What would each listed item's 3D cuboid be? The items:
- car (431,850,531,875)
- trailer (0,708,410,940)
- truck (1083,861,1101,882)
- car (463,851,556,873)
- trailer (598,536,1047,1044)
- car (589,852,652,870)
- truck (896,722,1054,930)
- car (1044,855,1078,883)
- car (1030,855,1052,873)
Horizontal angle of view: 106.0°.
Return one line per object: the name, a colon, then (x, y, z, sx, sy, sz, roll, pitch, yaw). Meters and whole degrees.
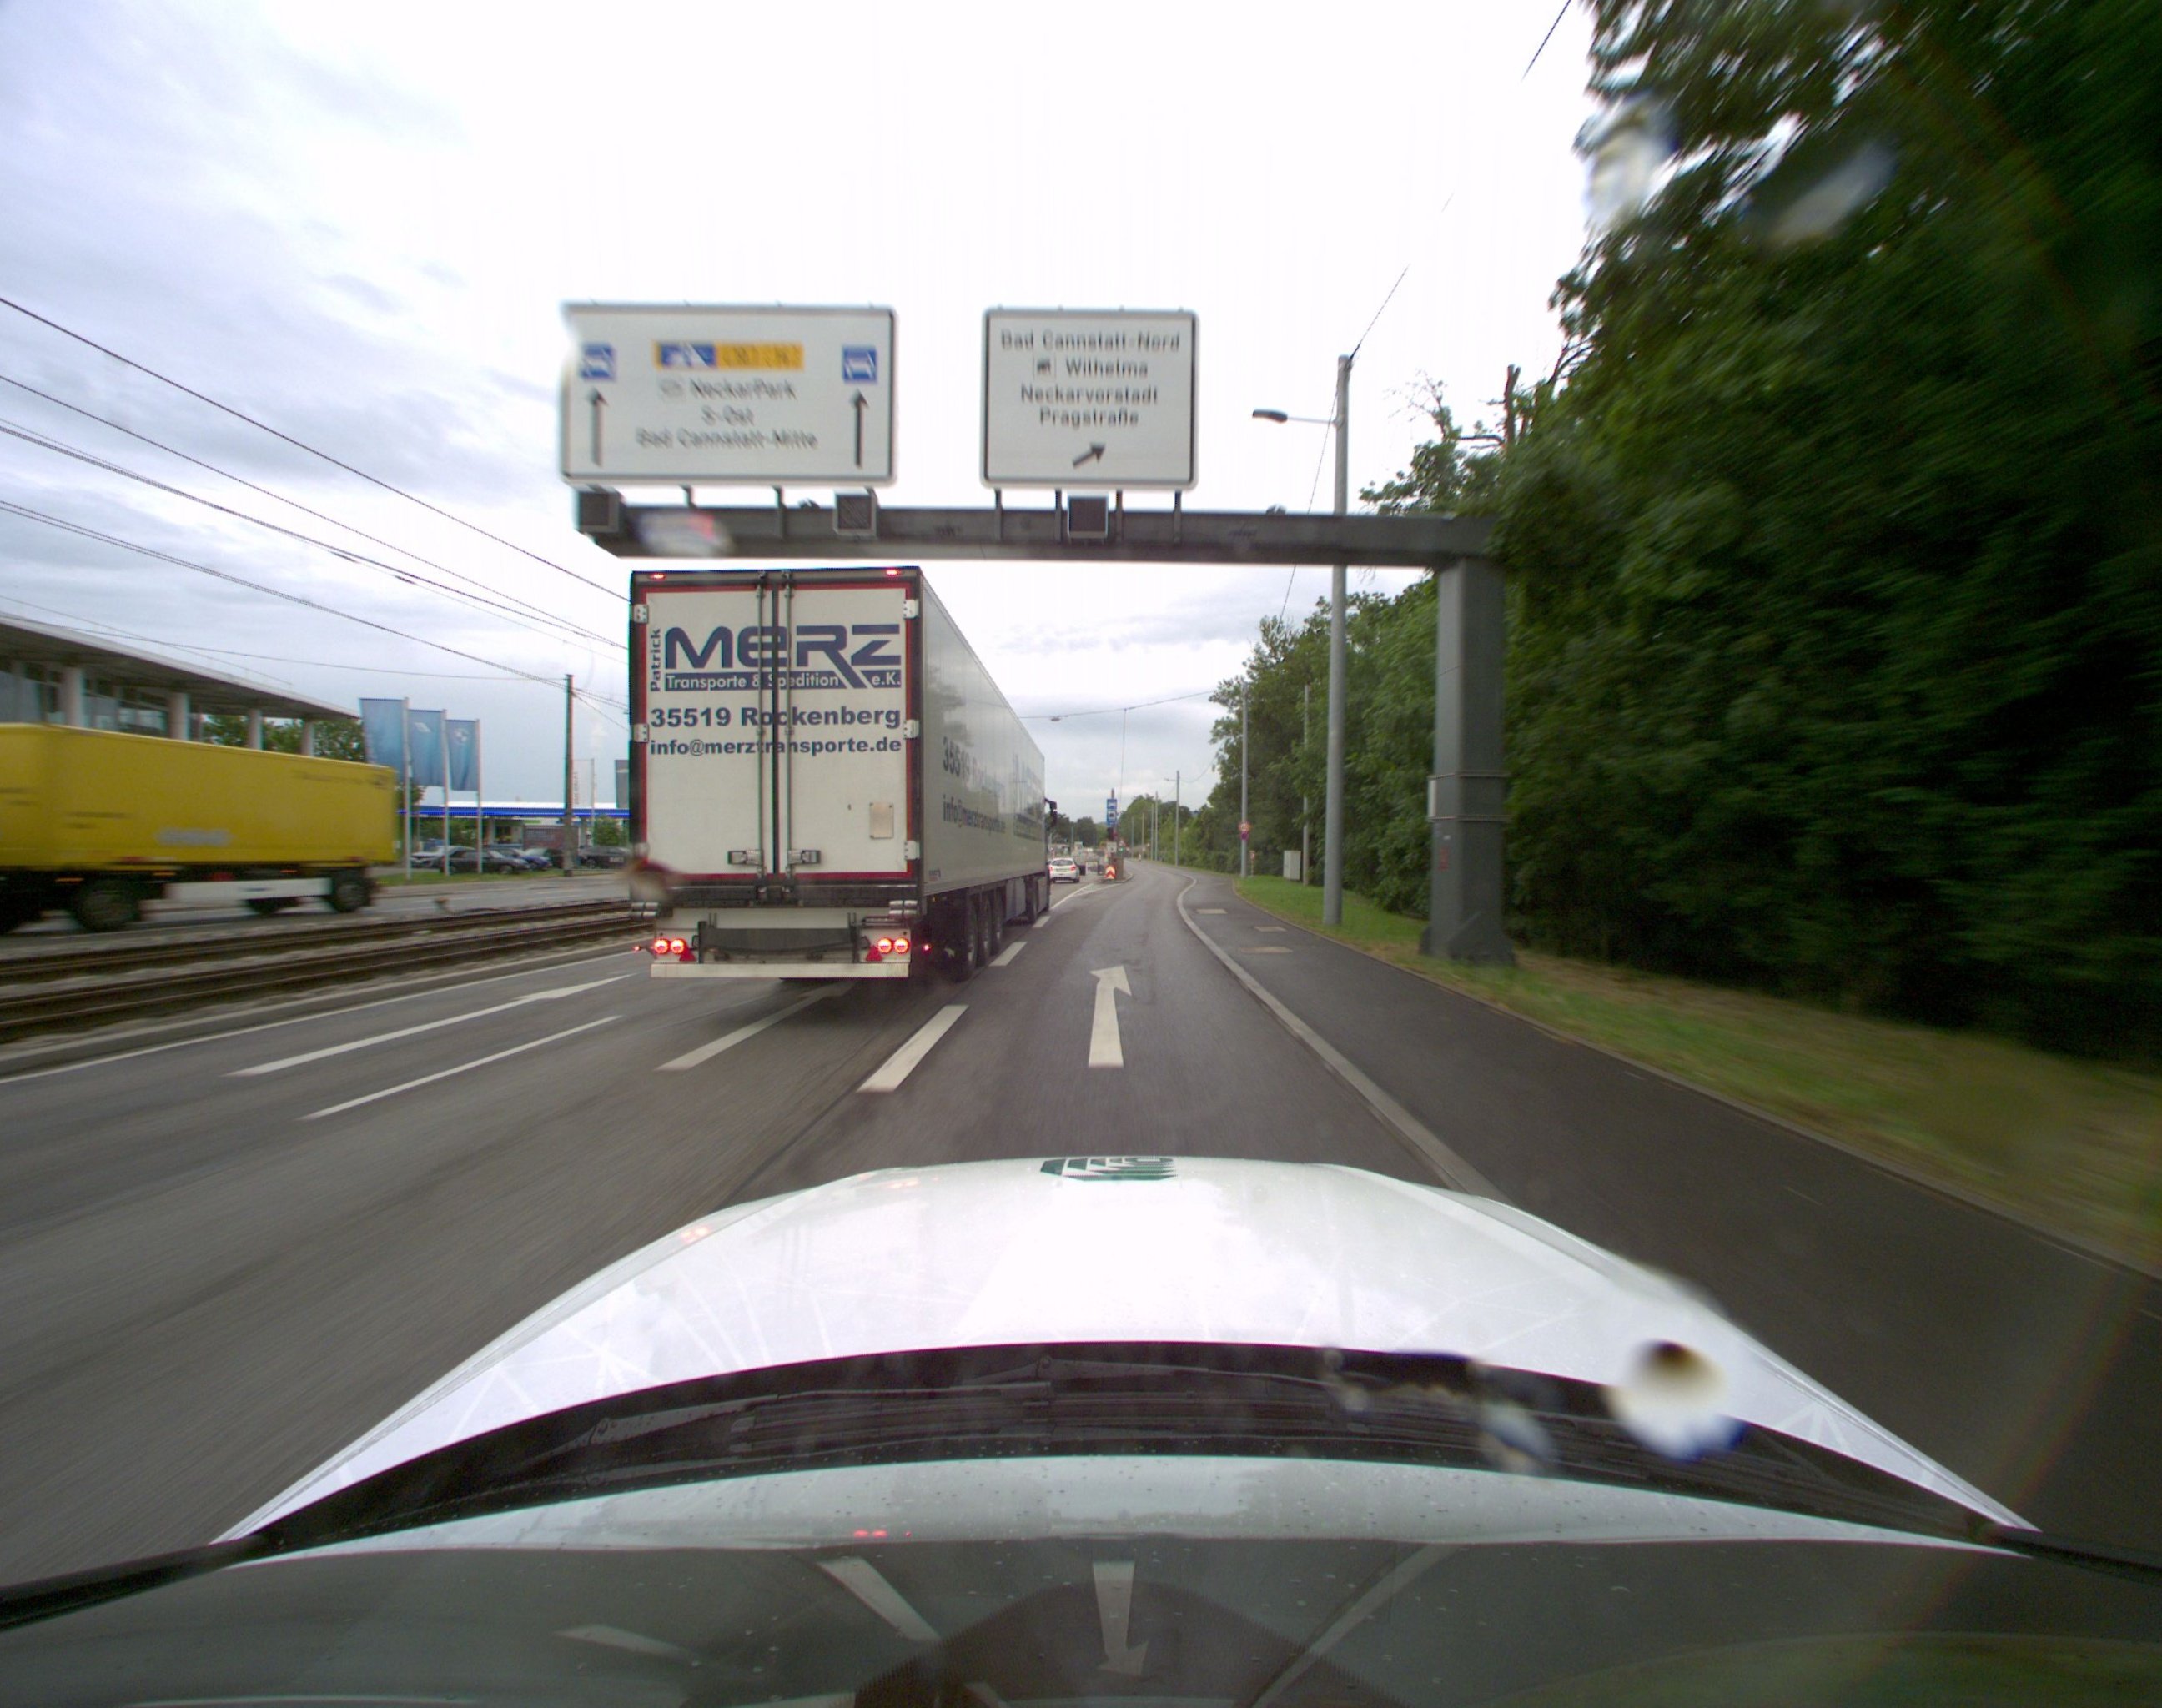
car: (-32.219, 0.474, 43.859, 4.000, 1.235, 1.692, 1, 2, -20)
trailer: (-20.176, -0.505, 18.275, 2.674, 4.051, 9.083, 0, 0, 0)
truck: (2.259, 3.567, 168.443, 3.506, 4.040, 8.075, -1, 0, 1)
car: (-32.822, 0.478, 46.890, 4.000, 1.235, 1.749, 0, -1, -20)
trailer: (-2.475, -0.564, 13.494, 2.752, 4.252, 13.189, -1, 0, 2)
car: (-32.967, 0.506, 58.320, 3.499, 1.274, 1.719, 0, 0, 4)
truck: (-2.283, -0.584, 19.825, 2.746, 4.205, 6.309, -1, 0, 2)
car: (-1.145, 0.858, 48.068, 1.803, 1.423, 4.001, 0, 2, 1)
car: (-3.552, 0.882, 72.230, 1.675, 1.446, 4.001, 0, 2, 1)
